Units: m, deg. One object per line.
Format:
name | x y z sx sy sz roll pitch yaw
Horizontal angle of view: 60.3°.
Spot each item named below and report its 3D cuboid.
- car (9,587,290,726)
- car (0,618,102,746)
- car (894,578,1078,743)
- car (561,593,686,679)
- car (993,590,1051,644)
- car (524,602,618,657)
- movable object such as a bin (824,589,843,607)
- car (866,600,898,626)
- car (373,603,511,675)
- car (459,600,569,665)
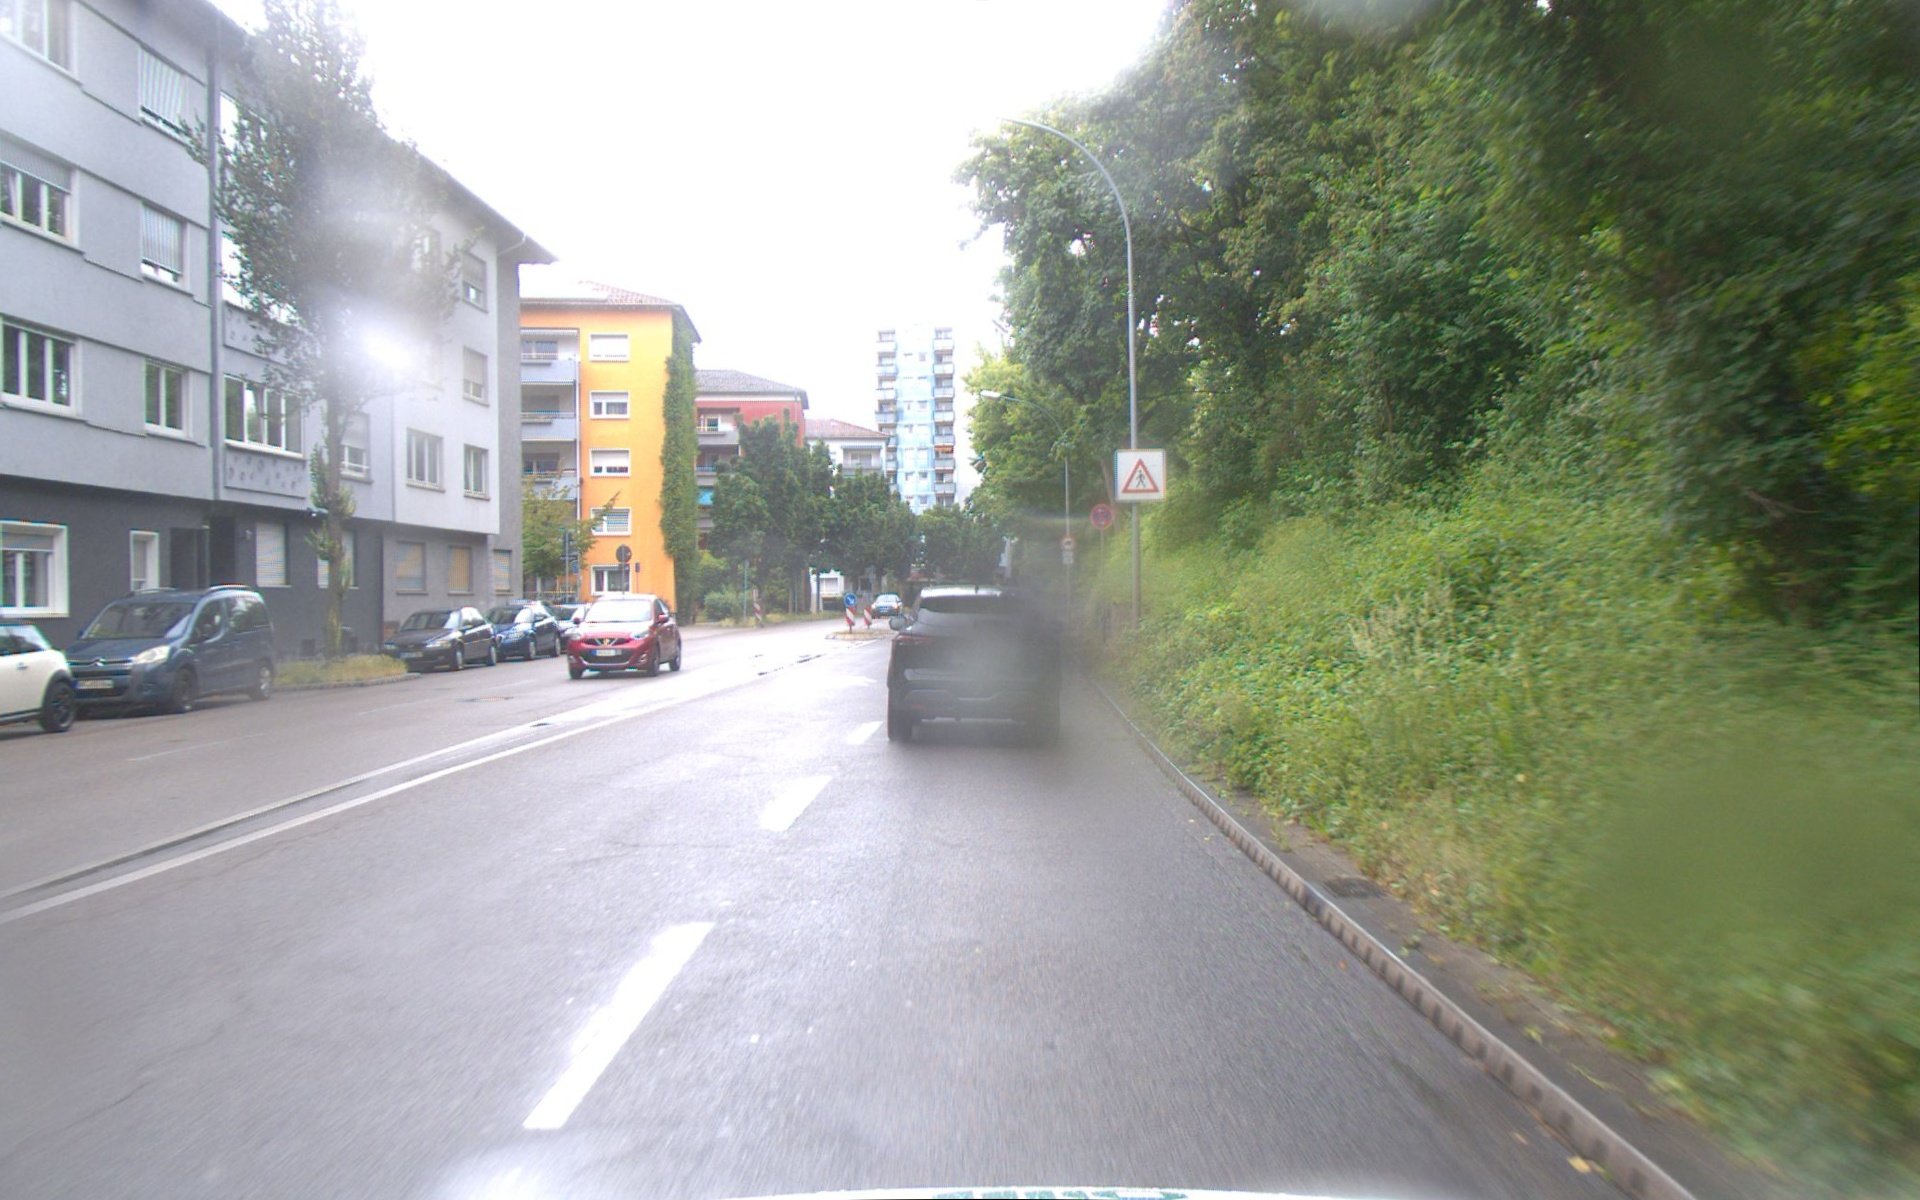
car | -11.842 0.755 24.564 1.852 1.797 4.600 -2 0 0
car | -11.719 0.992 19.004 1.646 1.400 3.999 -3 0 -1
car | 0.258 0.582 18.313 1.807 1.610 4.000 0 0 0
car | -6.392 0.646 31.787 1.672 1.504 3.679 -2 0 -1
car | 2.042 0.541 55.562 1.848 1.741 4.000 0 0 1
car | -11.602 0.855 49.557 1.677 1.450 4.323 -3 0 0
movable object such as a bin | -10.069 -0.131 131.844 1.293 1.385 1.258 -1 0 2
car | -4.972 0.796 105.838 1.751 1.530 4.648 -2 0 0
car | -11.761 0.852 37.877 1.654 1.381 4.579 -4 0 0
car | -11.707 0.820 43.659 1.646 1.474 4.276 -4 0 0
